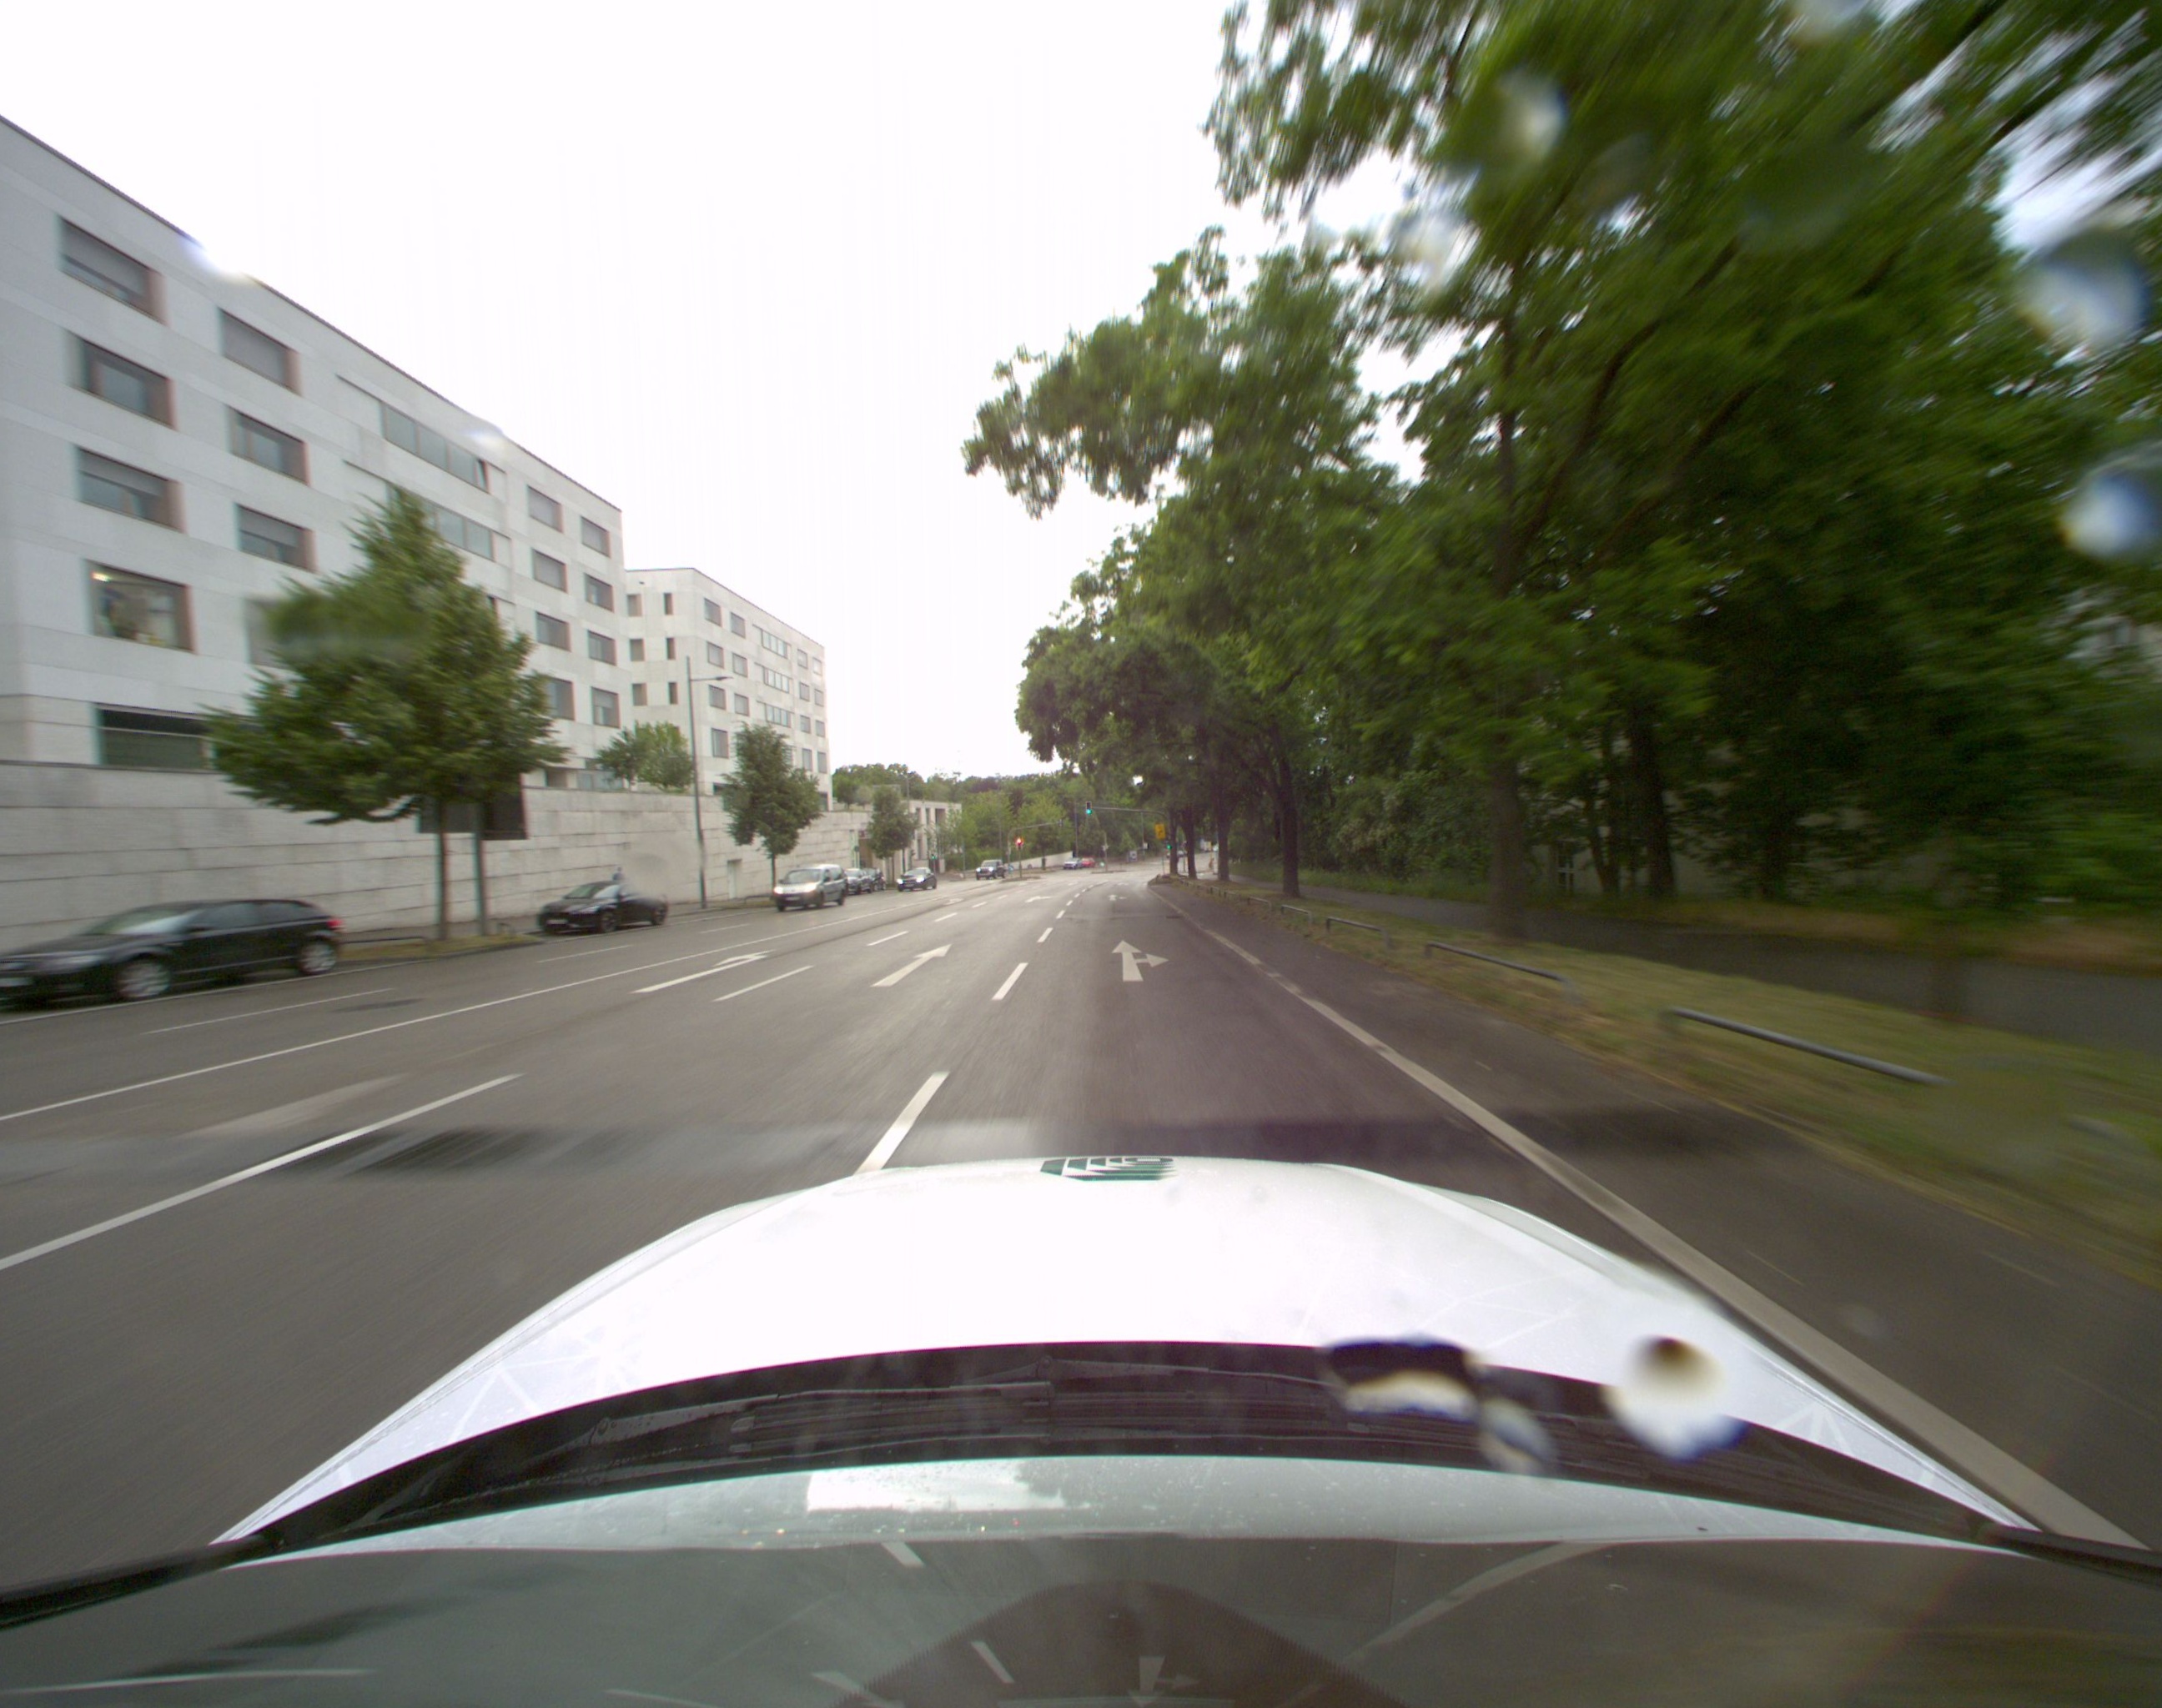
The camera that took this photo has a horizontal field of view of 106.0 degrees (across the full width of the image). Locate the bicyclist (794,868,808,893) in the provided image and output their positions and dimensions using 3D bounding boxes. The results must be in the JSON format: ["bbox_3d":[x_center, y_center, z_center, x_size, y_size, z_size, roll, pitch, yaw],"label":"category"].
[{"bbox_3d":[-17.237,1.617,50.167,0.575,1.518,0.769,-2,-1,1],"label":"bicyclist"}]

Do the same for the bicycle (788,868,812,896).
[{"bbox_3d":[-17.307,1.728,50.146,0.740,1.657,1.881,-1,-1,2],"label":"bicycle"}]

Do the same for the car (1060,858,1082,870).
[{"bbox_3d":[-1.466,1.469,118.052,1.838,1.640,4.113,1,1,18],"label":"car"}]

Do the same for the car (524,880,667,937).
[{"bbox_3d":[-14.051,1.530,23.850,1.672,1.426,3.967,-1,-1,2],"label":"car"}]

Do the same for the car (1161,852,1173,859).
[{"bbox_3d":[18.783,0.298,176.793,1.698,1.461,3.769,-1,-1,20],"label":"car"}]

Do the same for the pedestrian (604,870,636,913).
[{"bbox_3d":[-19.678,1.575,34.754,0.705,1.774,1.021,-2,-1,1],"label":"pedestrian"}]

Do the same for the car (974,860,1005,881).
[{"bbox_3d":[-8.971,1.609,80.457,1.911,1.857,4.514,-5,-1,6],"label":"car"}]

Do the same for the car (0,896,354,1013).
[{"bbox_3d":[-14.465,1.480,13.083,1.688,1.360,4.165,-2,0,2],"label":"car"}]

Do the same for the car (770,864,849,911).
[{"bbox_3d":[-11.091,1.324,33.621,1.704,1.746,4.338,-2,0,1],"label":"car"}]

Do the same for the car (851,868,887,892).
[{"bbox_3d":[-14.085,1.705,54.274,1.502,1.515,2.981,-1,-1,2],"label":"car"}]

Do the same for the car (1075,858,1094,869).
[{"bbox_3d":[0.554,1.468,125.099,1.860,1.575,4.241,1,0,17],"label":"car"}]

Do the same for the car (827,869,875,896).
[{"bbox_3d":[-13.584,1.649,48.222,1.673,1.515,3.711,-1,-1,1],"label":"car"}]

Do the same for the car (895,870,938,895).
[{"bbox_3d":[-10.547,1.814,52.476,1.764,1.381,4.191,-4,-1,1],"label":"car"}]
